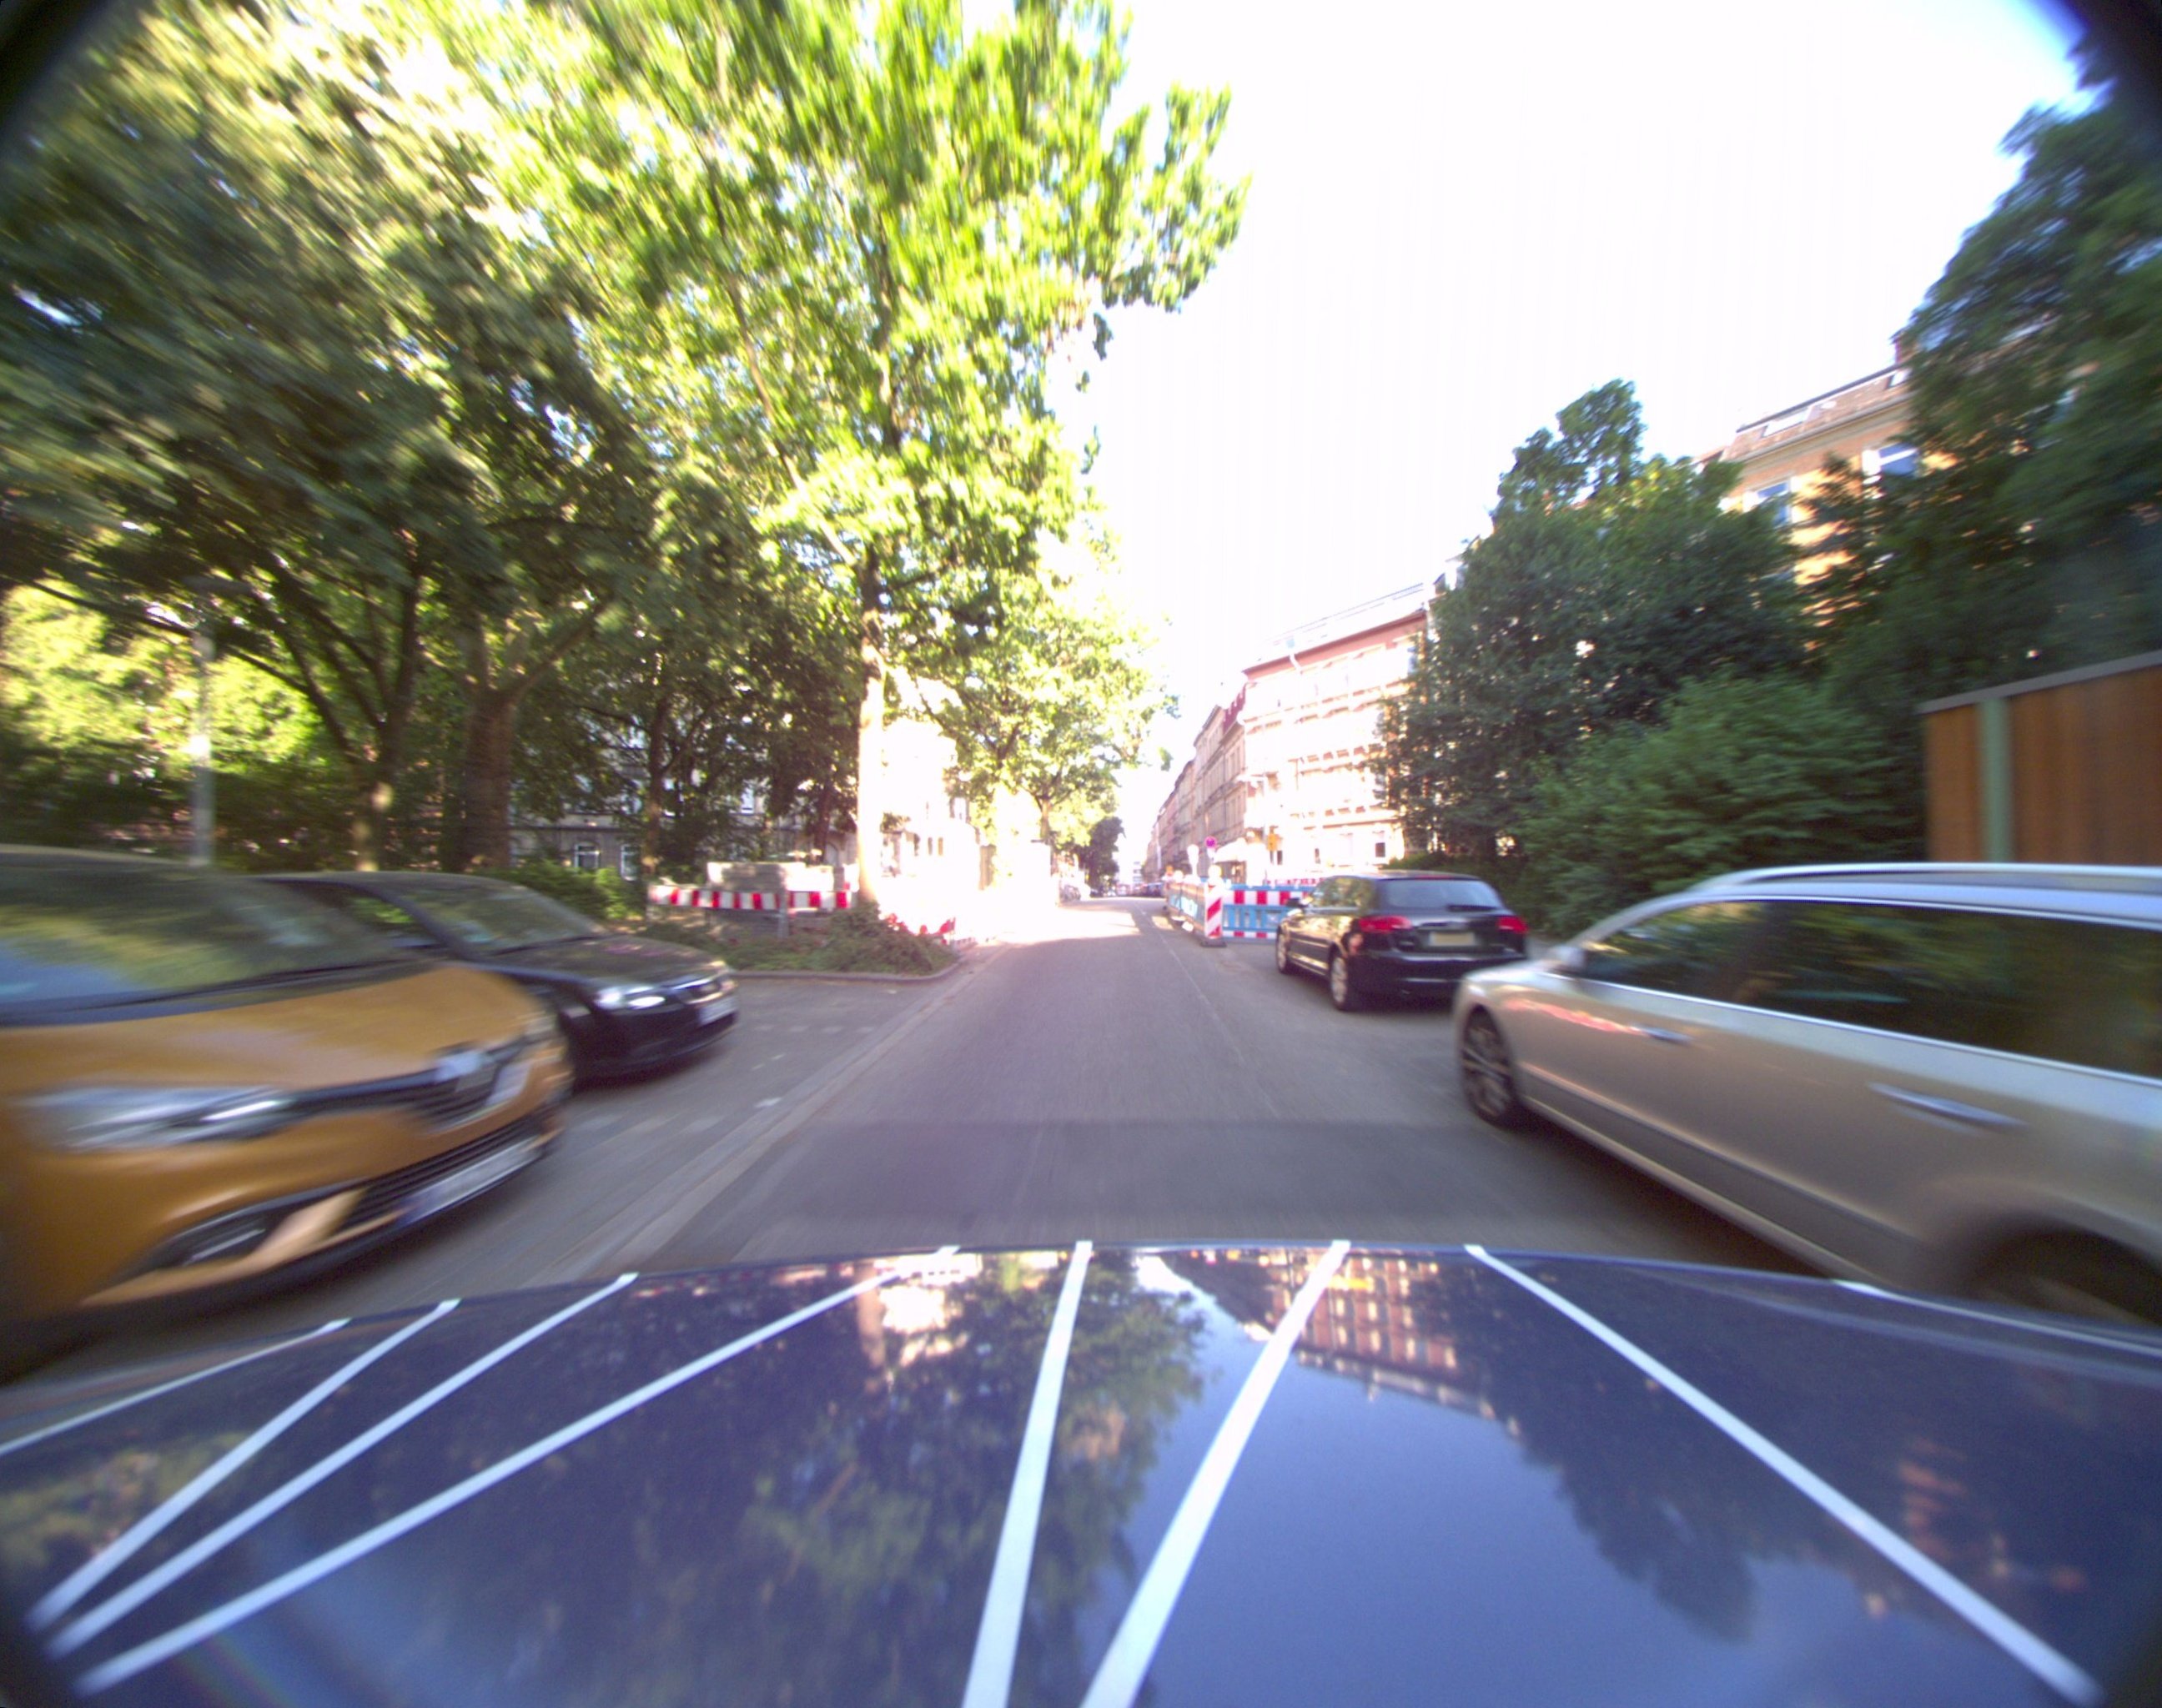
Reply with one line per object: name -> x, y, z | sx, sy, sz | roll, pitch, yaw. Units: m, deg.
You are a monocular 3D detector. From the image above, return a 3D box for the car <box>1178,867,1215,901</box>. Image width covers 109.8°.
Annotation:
car -> 6.757, 1.728, 44.642 | 1.703, 1.794, 4.195 | 1, 0, 3

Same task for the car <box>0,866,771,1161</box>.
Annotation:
car -> -4.637, 0.970, 5.516 | 3.998, 1.618, 1.798 | -2, 0, -3

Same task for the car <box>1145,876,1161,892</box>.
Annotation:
car -> 8.411, 3.468, 88.997 | 1.703, 1.740, 4.195 | 1, 0, 3

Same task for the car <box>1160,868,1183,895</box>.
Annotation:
car -> 7.652, 2.320, 64.514 | 1.703, 2.103, 4.195 | 1, 0, 3

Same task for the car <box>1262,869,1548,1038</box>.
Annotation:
car -> 3.368, 0.923, 8.847 | 1.703, 1.391, 4.195 | 1, 0, 3

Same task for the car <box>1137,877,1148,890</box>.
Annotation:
car -> 9.704, 4.663, 120.310 | 1.703, 1.740, 4.195 | 1, 0, 3

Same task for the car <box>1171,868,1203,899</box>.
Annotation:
car -> 6.855, 1.885, 49.444 | 1.703, 1.829, 4.195 | 1, 0, 3

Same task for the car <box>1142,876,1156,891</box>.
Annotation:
car -> 8.943, 3.853, 100.157 | 1.703, 1.740, 4.195 | 1, 0, 3

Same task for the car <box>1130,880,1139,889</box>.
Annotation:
car -> 11.626, 6.690, 164.680 | 1.703, 1.740, 4.195 | 1, 0, 3

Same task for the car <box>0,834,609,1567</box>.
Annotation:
car -> -4.339, 0.888, 2.876 | 3.995, 1.747, 1.799 | -2, 0, 5

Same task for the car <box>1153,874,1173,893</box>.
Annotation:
car -> 8.063, 2.865, 74.710 | 1.703, 1.740, 4.195 | 1, 0, 3

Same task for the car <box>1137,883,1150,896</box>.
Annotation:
car -> 9.334, 5.277, 113.495 | 1.703, 1.740, 4.195 | 1, 0, 3

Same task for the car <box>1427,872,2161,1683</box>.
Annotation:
car -> 3.020, 0.877, 2.665 | 1.703, 1.489, 4.550 | 1, 0, 3

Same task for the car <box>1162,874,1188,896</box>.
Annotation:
car -> 7.282, 2.393, 59.212 | 1.703, 1.559, 4.195 | 1, 0, 3
